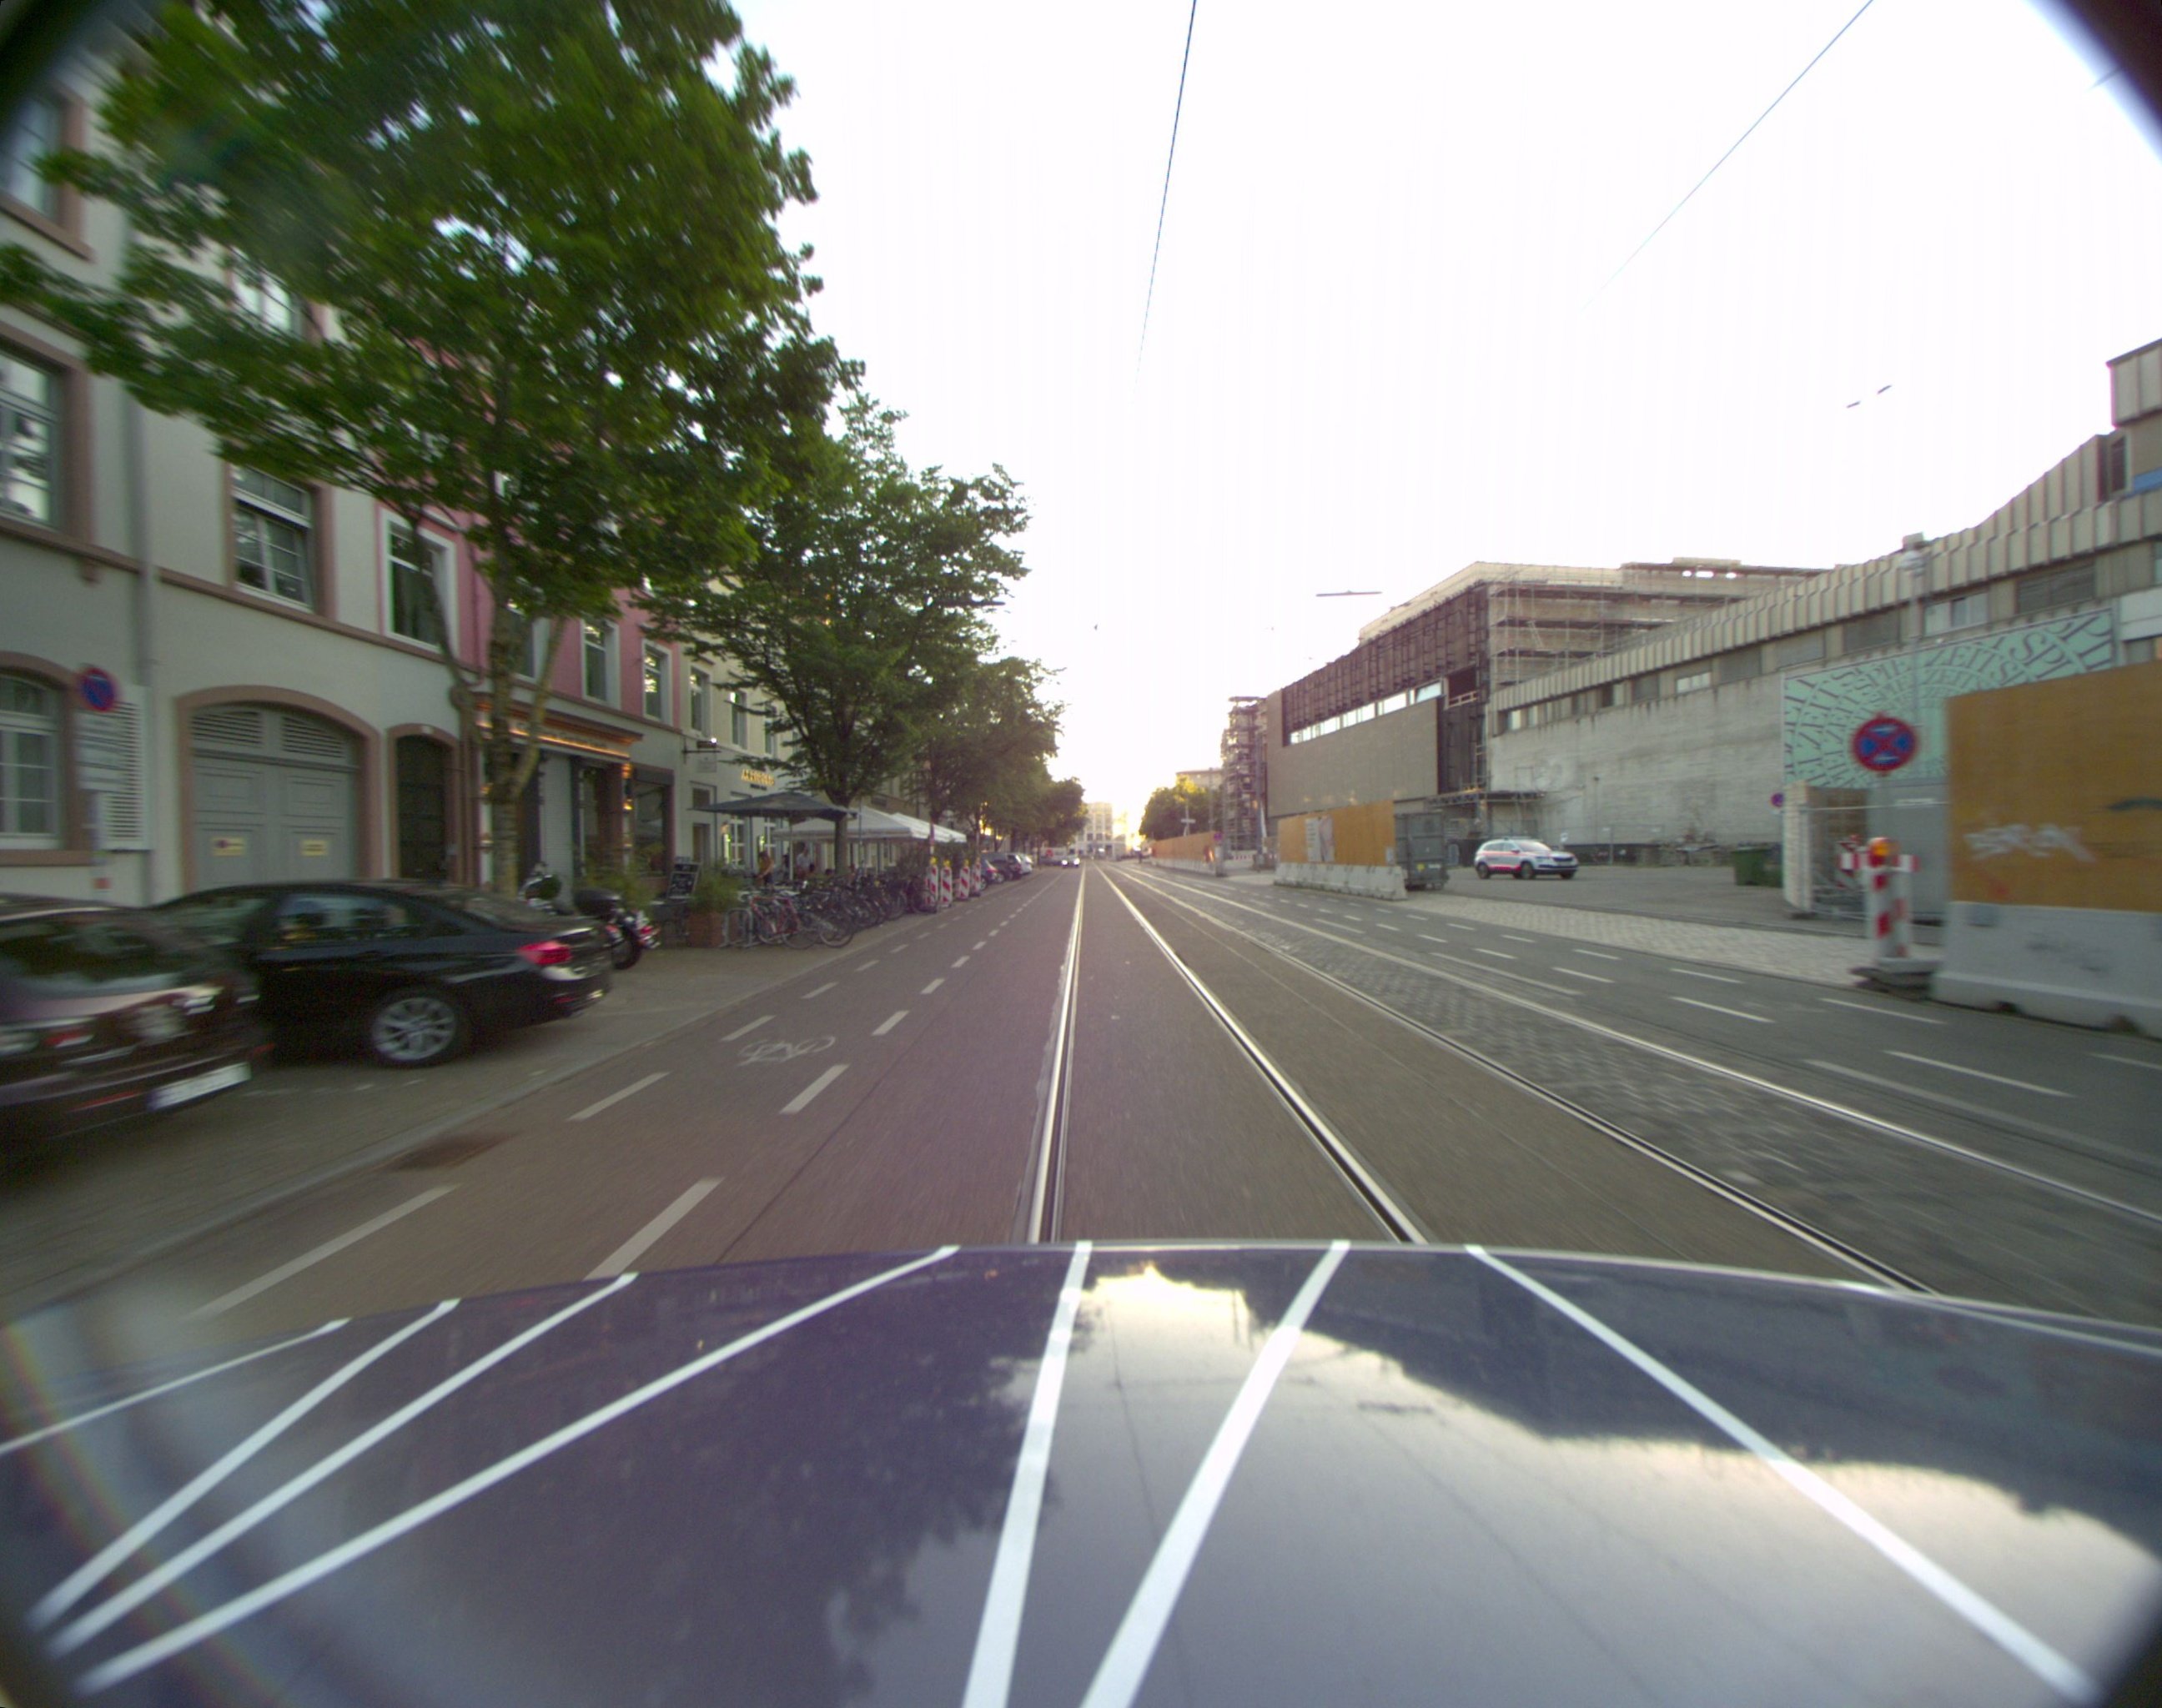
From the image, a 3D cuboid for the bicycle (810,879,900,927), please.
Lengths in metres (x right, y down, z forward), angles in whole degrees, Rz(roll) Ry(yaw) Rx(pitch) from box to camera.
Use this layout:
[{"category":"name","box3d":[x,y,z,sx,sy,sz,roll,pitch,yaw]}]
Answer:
[{"category":"bicycle","box3d":[-5.253,1.138,17.754,1.891,1.026,0.608,2,1,-1]}]

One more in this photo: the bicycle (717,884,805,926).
[{"category":"bicycle","box3d":[-7.262,1.152,17.280,1.820,0.867,0.325,2,1,-1]}]

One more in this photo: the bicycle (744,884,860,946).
[{"category":"bicycle","box3d":[-5.201,1.130,14.254,1.891,1.061,0.674,2,1,-1]}]

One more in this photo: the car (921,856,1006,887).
[{"category":"car","box3d":[-5.675,0.828,36.760,3.789,1.399,1.703,1,1,-21]}]

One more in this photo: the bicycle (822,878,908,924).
[{"category":"bicycle","box3d":[-5.231,1.136,18.478,1.891,1.026,0.608,2,1,-1]}]

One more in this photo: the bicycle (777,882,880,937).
[{"category":"bicycle","box3d":[-5.167,1.125,15.627,1.891,1.026,0.608,2,1,-1]}]

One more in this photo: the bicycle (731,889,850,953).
[{"category":"bicycle","box3d":[-5.163,1.192,13.571,1.868,1.026,0.591,2,1,-2]}]

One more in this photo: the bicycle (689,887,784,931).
[{"category":"bicycle","box3d":[-7.278,1.160,16.082,1.820,0.867,0.325,2,1,-1]}]

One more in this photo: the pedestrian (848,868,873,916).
[{"category":"pedestrian","box3d":[-6.054,1.032,20.861,0.503,1.285,0.600,-2,1,-4]}]

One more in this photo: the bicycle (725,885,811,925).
[{"category":"bicycle","box3d":[-7.289,1.191,17.724,1.820,0.867,0.325,-1,1,-1]}]

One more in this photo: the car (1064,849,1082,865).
[{"category":"car","box3d":[-0.903,0.366,86.203,1.840,1.631,4.168,-4,0,1]}]

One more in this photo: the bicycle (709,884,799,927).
[{"category":"bicycle","box3d":[-7.265,1.141,16.890,1.820,0.867,0.325,2,1,-1]}]

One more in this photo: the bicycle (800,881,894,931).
[{"category":"bicycle","box3d":[-5.248,1.162,17.075,1.891,1.026,0.608,2,1,-1]}]

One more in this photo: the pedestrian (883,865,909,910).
[{"category":"pedestrian","box3d":[-5.412,0.968,22.273,0.503,1.285,0.600,-2,1,6]}]

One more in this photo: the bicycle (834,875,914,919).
[{"category":"bicycle","box3d":[-5.219,1.081,19.226,1.820,1.026,0.608,2,1,-1]}]

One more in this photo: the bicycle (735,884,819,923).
[{"category":"bicycle","box3d":[-7.241,1.183,18.124,1.820,0.867,0.325,-1,1,-1]}]

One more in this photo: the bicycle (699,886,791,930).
[{"category":"bicycle","box3d":[-7.286,1.166,16.491,1.820,0.867,0.325,2,1,-1]}]

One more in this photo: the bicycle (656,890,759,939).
[{"category":"bicycle","box3d":[-7.288,1.185,14.839,1.820,0.867,0.325,2,1,-1]}]

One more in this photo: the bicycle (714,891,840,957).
[{"category":"bicycle","box3d":[-5.171,1.187,12.974,1.908,1.026,0.533,2,1,-1]}]

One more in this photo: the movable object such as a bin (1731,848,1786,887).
[{"category":"movable object such as a bin","box3d":[18.594,0.362,20.865,0.841,1.029,0.762,-2,1,-7]}]

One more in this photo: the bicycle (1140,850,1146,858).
[{"category":"bicycle","box3d":[9.635,0.025,118.401,0.770,1.221,1.936,-1,0,0]}]

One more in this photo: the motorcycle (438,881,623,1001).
[{"category":"motorcycle","box3d":[-6.509,1.016,9.030,1.790,1.336,0.533,1,1,-1]}]

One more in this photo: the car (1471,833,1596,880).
[{"category":"car","box3d":[17.628,0.088,29.878,2.000,1.654,4.277,-2,0,-7]}]

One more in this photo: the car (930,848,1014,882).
[{"category":"car","box3d":[-6.071,0.595,42.199,4.167,1.796,2.003,1,1,-28]}]

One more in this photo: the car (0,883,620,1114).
[{"category":"car","box3d":[-6.395,1.021,6.179,4.179,1.418,1.820,2,0,-18]}]

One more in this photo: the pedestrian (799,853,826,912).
[{"category":"pedestrian","box3d":[-8.222,0.870,23.278,0.552,1.753,0.715,-2,1,-4]}]

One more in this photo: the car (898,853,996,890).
[{"category":"car","box3d":[-5.980,0.768,33.955,3.979,1.544,1.702,1,1,-25]}]

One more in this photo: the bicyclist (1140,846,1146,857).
[{"category":"bicyclist","box3d":[9.631,-0.425,118.365,0.770,1.656,1.018,-1,1,0]}]

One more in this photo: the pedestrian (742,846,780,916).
[{"category":"pedestrian","box3d":[-8.235,0.671,19.579,0.552,1.753,0.894,-2,1,0]}]

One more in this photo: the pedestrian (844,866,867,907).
[{"category":"pedestrian","box3d":[-7.401,1.052,24.913,0.553,1.298,0.713,-2,1,-27]}]

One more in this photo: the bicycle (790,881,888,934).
[{"category":"bicycle","box3d":[-5.199,1.144,16.400,1.891,1.026,0.608,2,1,-1]}]

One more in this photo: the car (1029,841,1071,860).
[{"category":"car","box3d":[-4.450,-0.512,109.240,5.650,2.678,2.166,-1,0,-34]}]

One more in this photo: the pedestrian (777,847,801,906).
[{"category":"pedestrian","box3d":[-8.859,0.663,23.042,0.553,1.753,0.851,-2,1,-16]}]

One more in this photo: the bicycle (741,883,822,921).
[{"category":"bicycle","box3d":[-7.383,1.180,18.754,1.820,0.867,0.387,-1,1,-1]}]

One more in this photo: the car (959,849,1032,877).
[{"category":"car","box3d":[-5.692,0.597,50.892,4.661,1.678,2.008,1,0,0]}]

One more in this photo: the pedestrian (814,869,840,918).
[{"category":"pedestrian","box3d":[-6.930,1.062,20.768,0.503,1.285,0.600,-2,1,-4]}]

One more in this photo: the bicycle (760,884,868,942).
[{"category":"bicycle","box3d":[-5.233,1.152,14.966,1.891,1.026,0.608,2,1,-1]}]

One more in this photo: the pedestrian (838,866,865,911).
[{"category":"pedestrian","box3d":[-6.751,1.013,22.360,0.599,1.285,0.504,-2,1,3]}]

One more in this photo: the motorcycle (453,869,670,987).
[{"category":"motorcycle","box3d":[-6.879,0.950,10.169,2.228,1.453,0.967,1,1,-1]}]

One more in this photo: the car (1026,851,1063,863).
[{"category":"car","box3d":[-4.982,0.391,102.907,4.614,1.504,1.859,1,-1,-26]}]

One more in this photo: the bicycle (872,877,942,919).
[{"category":"bicycle","box3d":[-4.580,1.155,20.089,1.683,1.026,0.557,2,1,-1]}]

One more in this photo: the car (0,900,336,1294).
[{"category":"car","box3d":[-6.565,1.003,3.505,3.964,1.462,1.998,2,0,-16]}]

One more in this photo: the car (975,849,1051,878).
[{"category":"car","box3d":[-4.286,0.606,48.350,4.662,1.678,2.007,1,0,-5]}]

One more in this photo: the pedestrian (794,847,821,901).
[{"category":"pedestrian","box3d":[-9.109,0.655,25.295,0.705,1.753,0.713,-2,1,-27]}]
